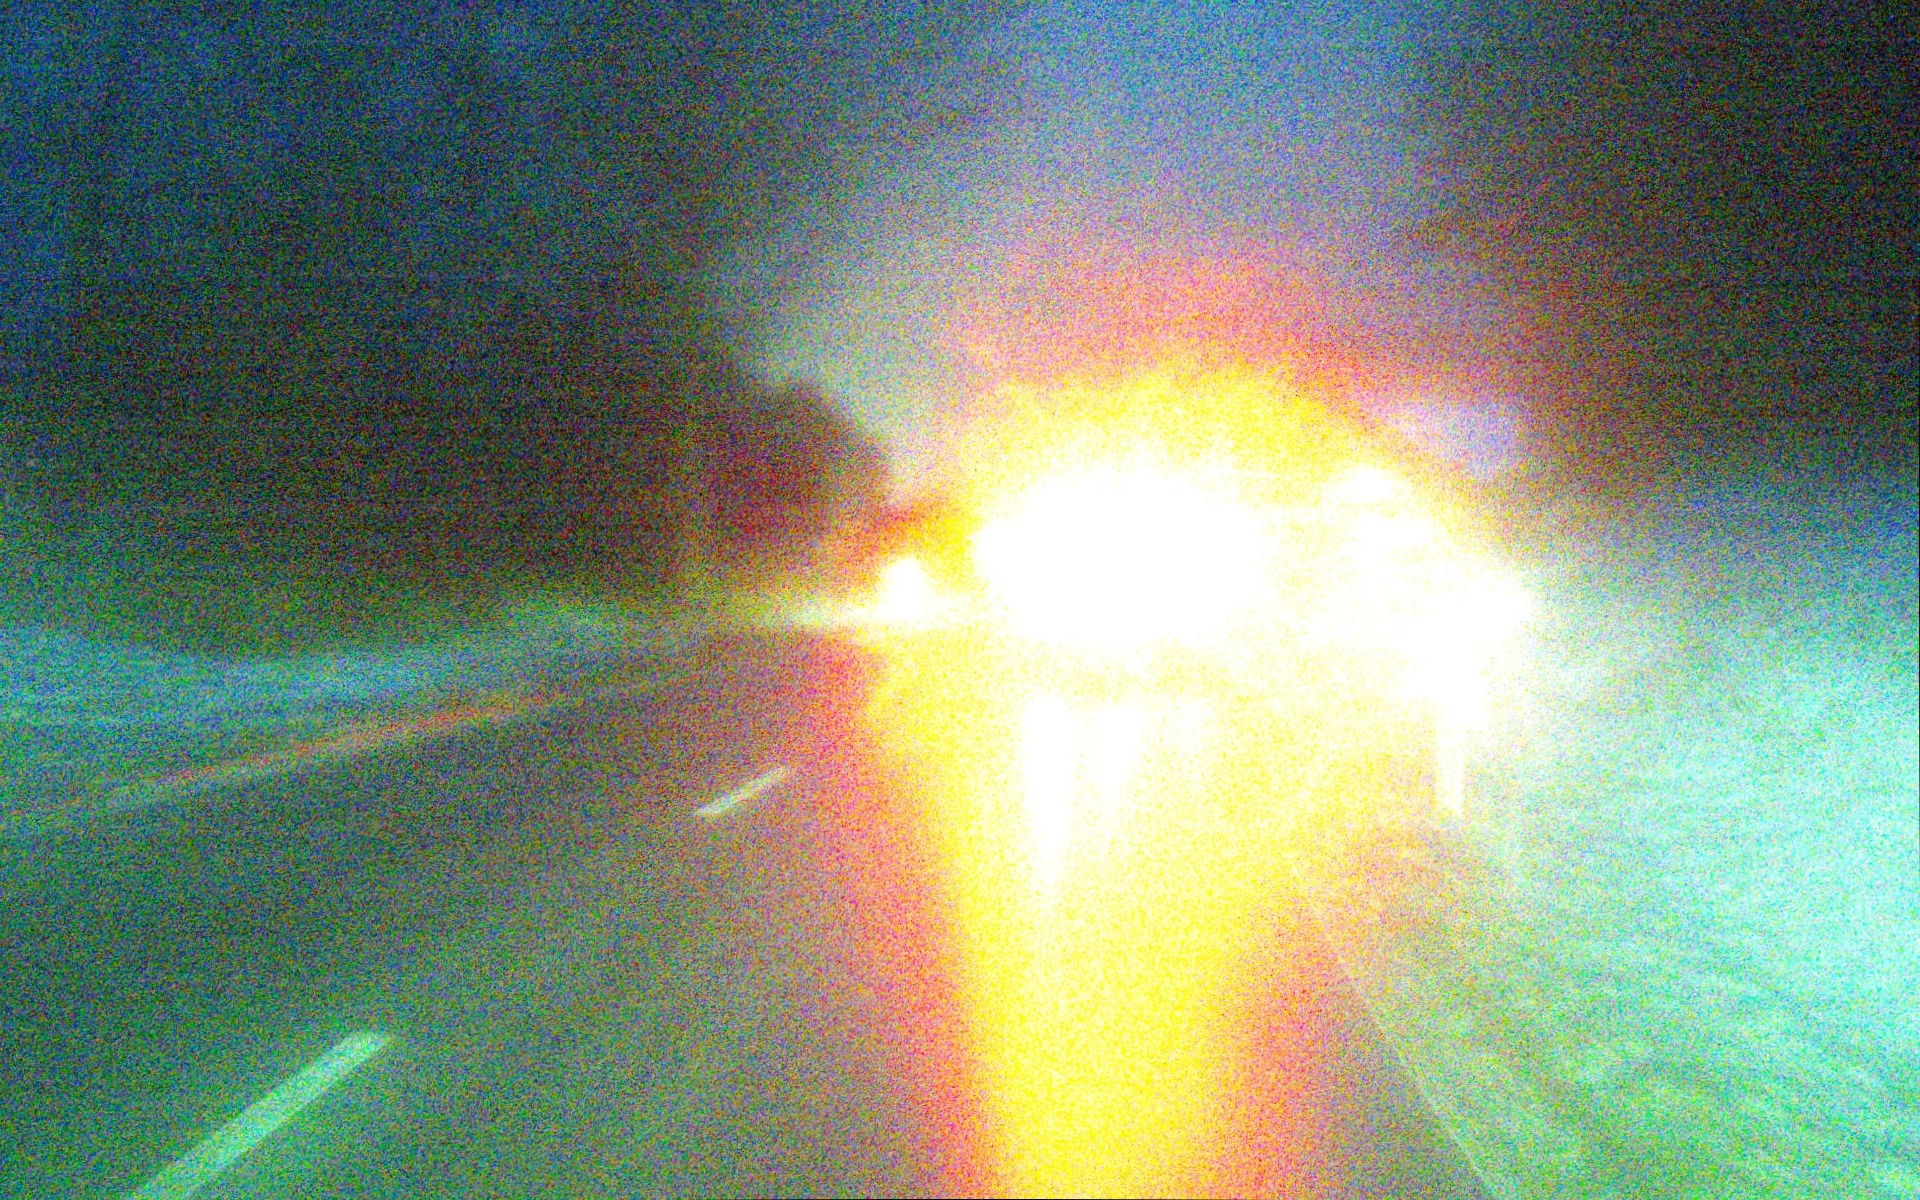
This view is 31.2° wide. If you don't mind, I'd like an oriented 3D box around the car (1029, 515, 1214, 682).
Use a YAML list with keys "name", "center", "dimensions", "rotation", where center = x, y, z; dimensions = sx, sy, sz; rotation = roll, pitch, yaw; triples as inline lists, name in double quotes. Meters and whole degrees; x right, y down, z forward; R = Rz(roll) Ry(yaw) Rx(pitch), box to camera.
- name: "car"
  center: [1.691, -0.052, 35.810]
  dimensions: [1.801, 1.623, 3.615]
  rotation: [-1, 1, 3]

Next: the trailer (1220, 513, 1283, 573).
- name: "trailer"
  center: [11.856, -2.316, 139.967]
  dimensions: [1.605, 2.344, 4.432]
  rotation: [1, 1, -7]

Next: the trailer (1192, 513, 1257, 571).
- name: "trailer"
  center: [11.122, -2.439, 144.709]
  dimensions: [1.629, 2.356, 4.654]
  rotation: [1, 1, -9]
